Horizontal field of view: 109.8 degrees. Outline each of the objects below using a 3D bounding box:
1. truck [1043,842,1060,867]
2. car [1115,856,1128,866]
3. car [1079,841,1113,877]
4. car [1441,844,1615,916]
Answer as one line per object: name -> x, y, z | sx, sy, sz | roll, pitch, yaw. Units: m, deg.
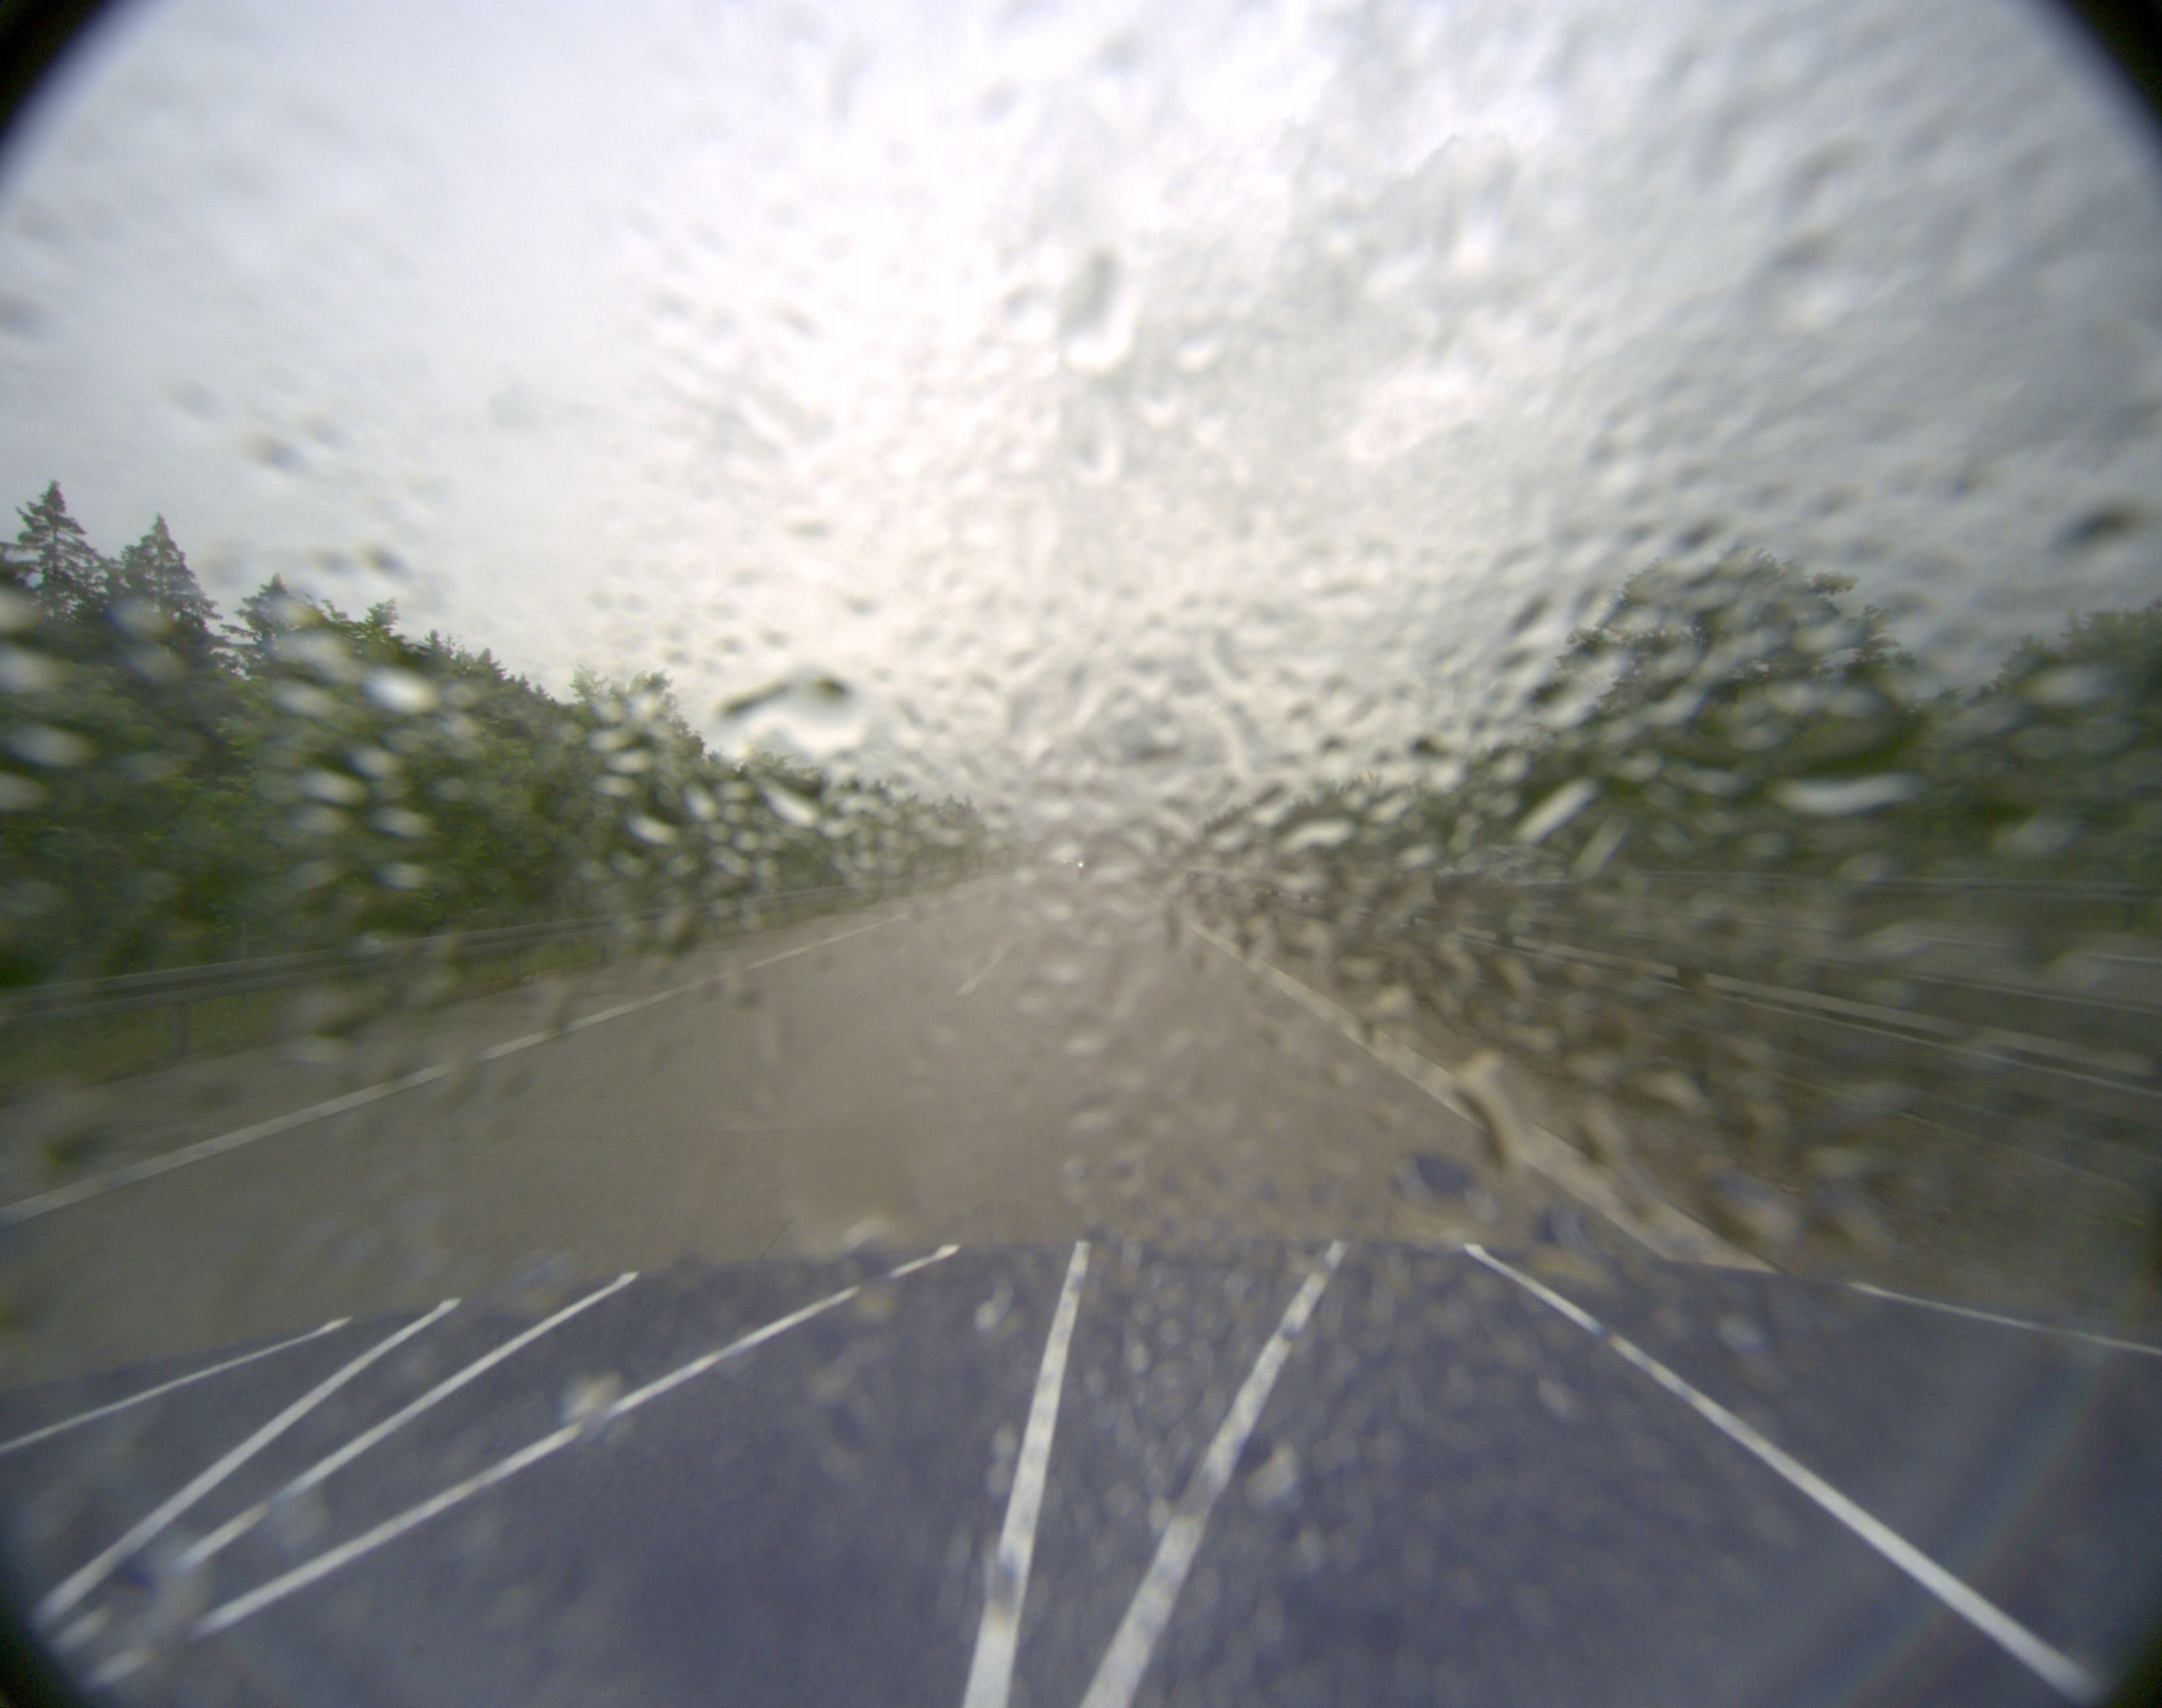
truck -> -4.959, 0.192, 126.606 | 2.767, 4.063, 5.436 | 1, -1, -3
car -> 6.505, 1.126, 121.723 | 1.768, 1.455, 3.846 | 1, -1, -1
car -> 0.887, 0.353, 47.206 | 1.796, 2.113, 4.524 | 1, -1, -3
car -> 11.011, 0.586, 19.121 | 1.998, 1.573, 4.000 | -2, 0, 0
